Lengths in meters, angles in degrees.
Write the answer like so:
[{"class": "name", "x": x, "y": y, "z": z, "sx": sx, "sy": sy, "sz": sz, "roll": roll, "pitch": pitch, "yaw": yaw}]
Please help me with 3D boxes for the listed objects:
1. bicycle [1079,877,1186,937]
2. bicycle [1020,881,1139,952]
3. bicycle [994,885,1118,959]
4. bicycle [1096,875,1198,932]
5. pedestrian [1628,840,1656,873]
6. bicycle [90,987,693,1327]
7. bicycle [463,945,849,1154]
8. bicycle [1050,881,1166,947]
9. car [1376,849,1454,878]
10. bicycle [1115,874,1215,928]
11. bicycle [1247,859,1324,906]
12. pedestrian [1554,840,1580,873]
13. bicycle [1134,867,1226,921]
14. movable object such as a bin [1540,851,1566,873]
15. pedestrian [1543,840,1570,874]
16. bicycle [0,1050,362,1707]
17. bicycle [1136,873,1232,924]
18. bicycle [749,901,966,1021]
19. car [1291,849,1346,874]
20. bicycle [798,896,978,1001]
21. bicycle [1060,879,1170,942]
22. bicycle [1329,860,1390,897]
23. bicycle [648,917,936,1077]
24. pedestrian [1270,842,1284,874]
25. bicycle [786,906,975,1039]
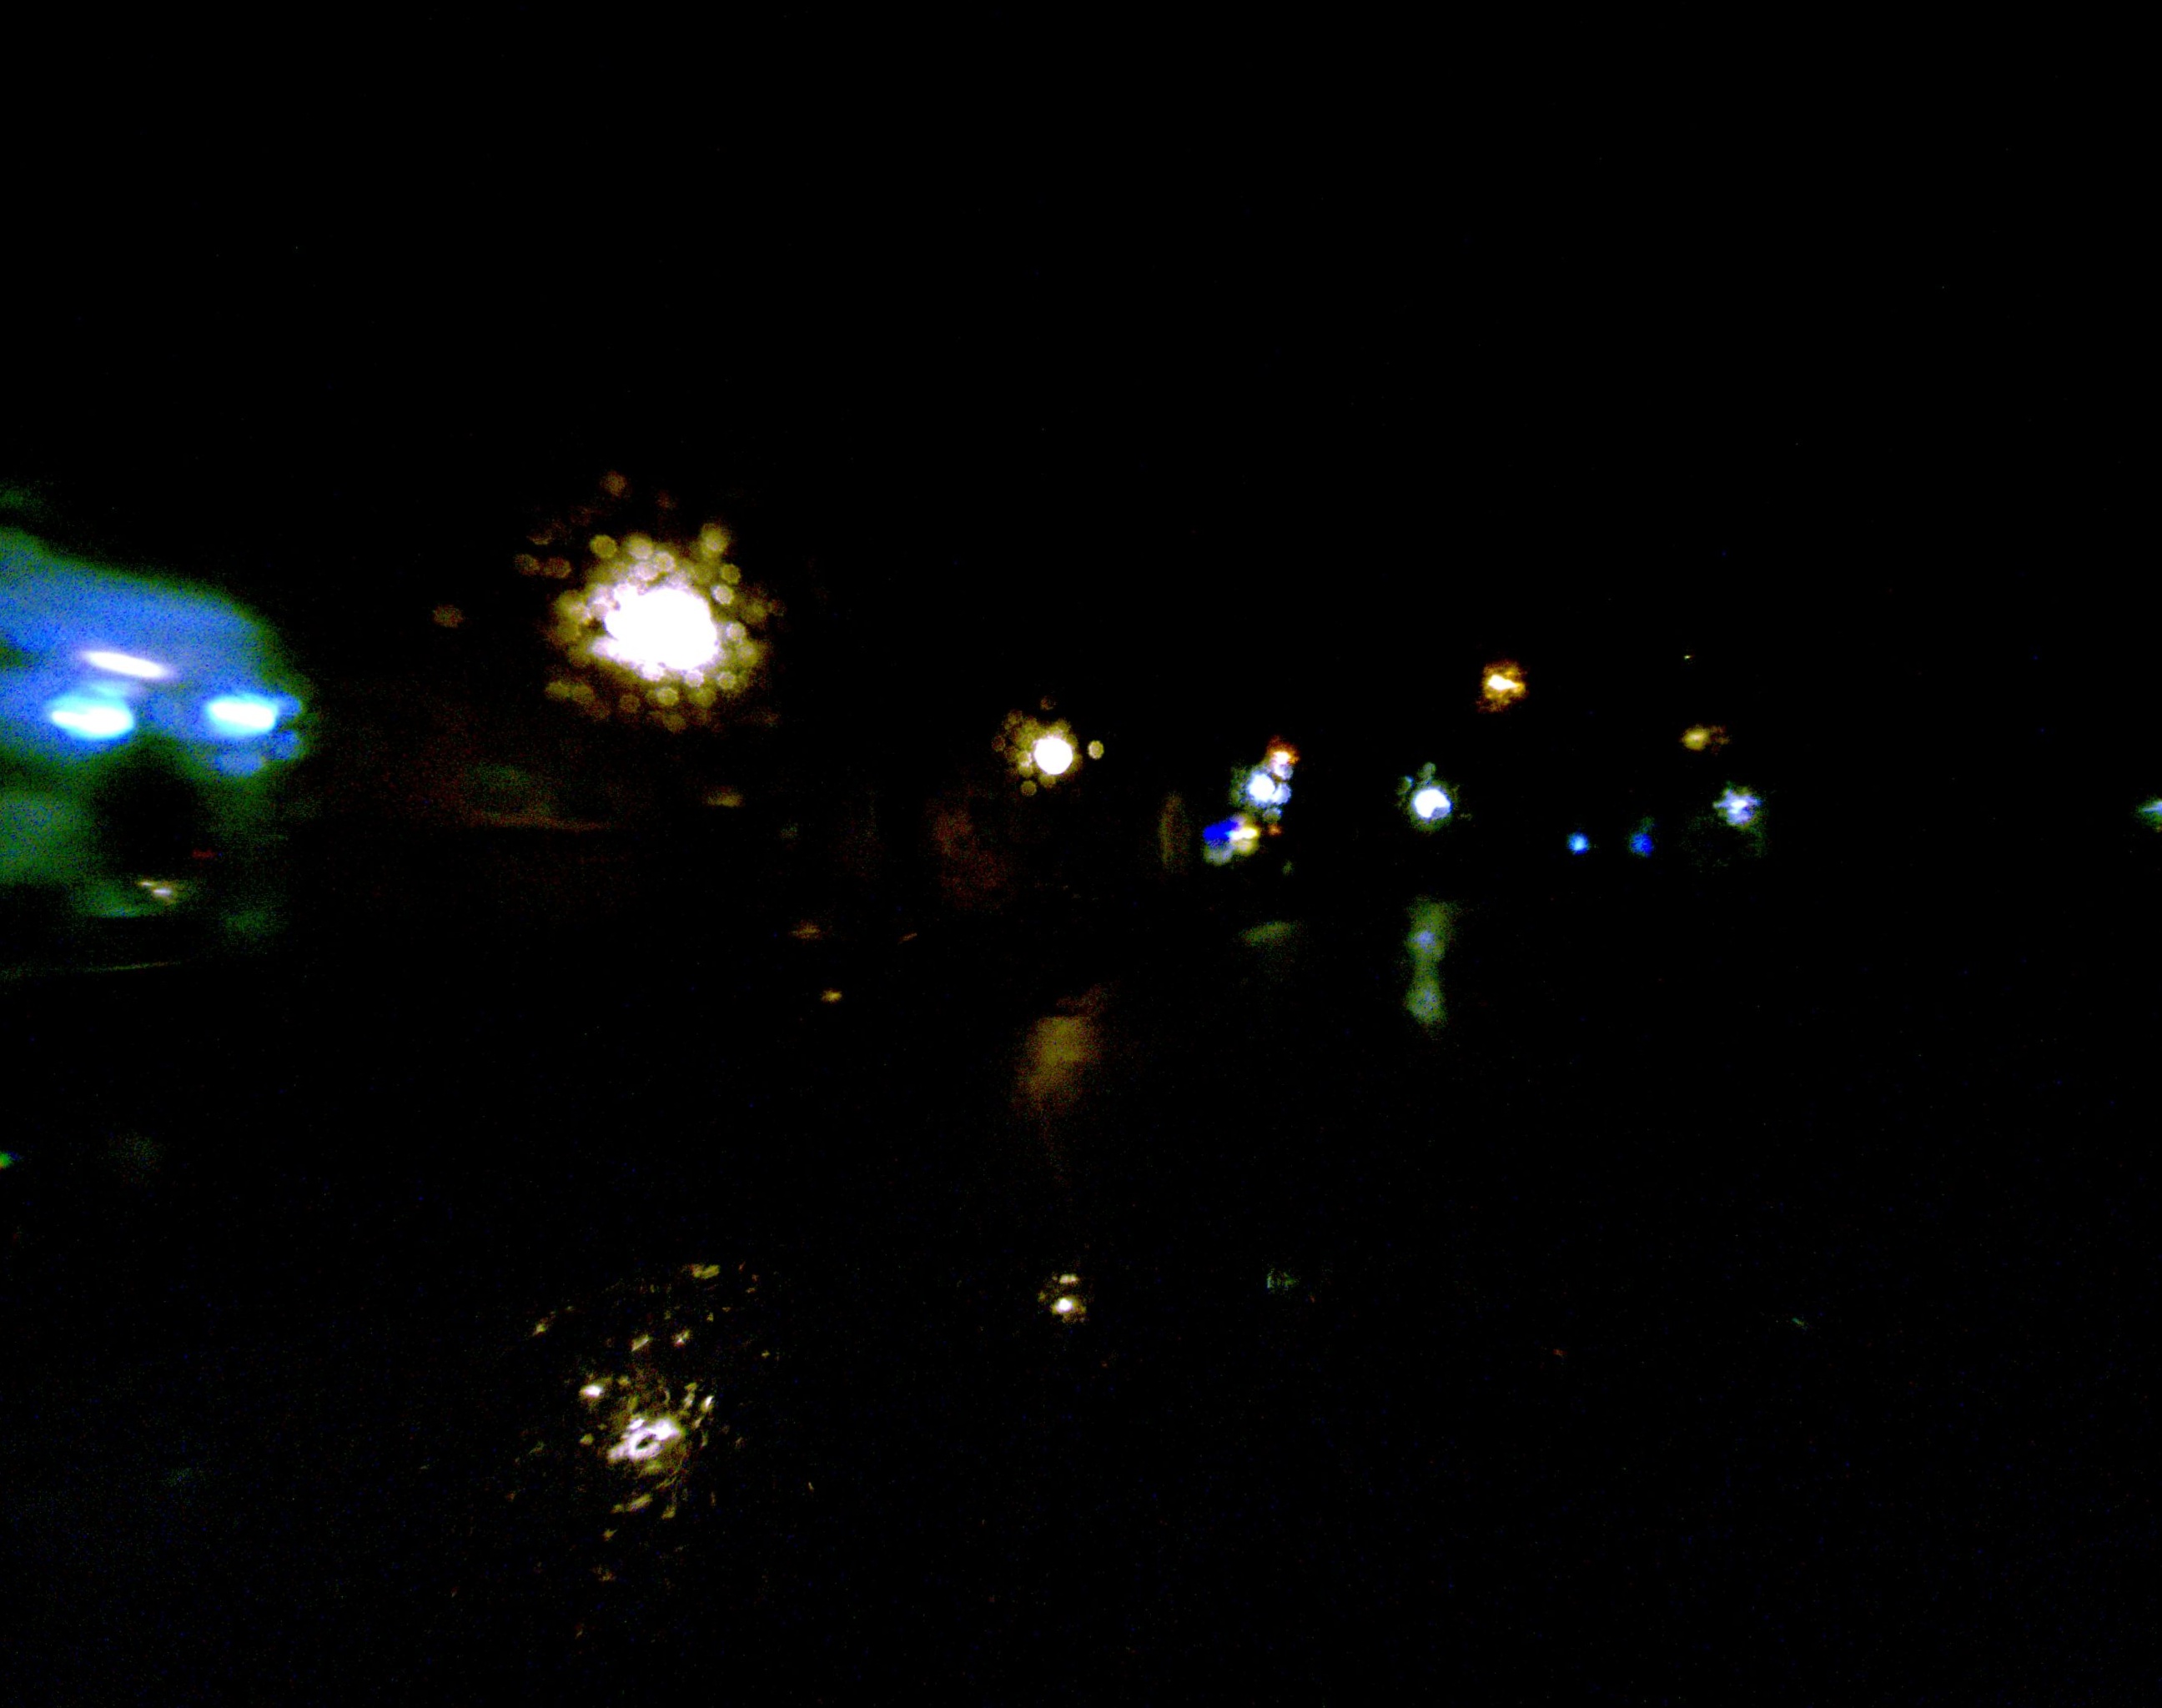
[{"class": "bicycle", "x": 0.942, "y": 0.969, "z": 14.330, "sx": 1.969, "sy": 1.001, "sz": 0.643, "roll": 0, "pitch": 1, "yaw": 37}, {"class": "bicycle", "x": -0.046, "y": 0.995, "z": 12.516, "sx": 1.969, "sy": 1.028, "sz": 0.643, "roll": 0, "pitch": 1, "yaw": 37}, {"class": "bicycle", "x": -0.417, "y": 1.022, "z": 11.914, "sx": 1.969, "sy": 1.001, "sz": 0.643, "roll": 0, "pitch": 1, "yaw": 37}, {"class": "bicycle", "x": 1.281, "y": 0.951, "z": 14.998, "sx": 1.969, "sy": 1.001, "sz": 0.643, "roll": 0, "pitch": 1, "yaw": 37}, {"class": "pedestrian", "x": 26.382, "y": 0.125, "z": 35.724, "sx": 0.635, "sy": 1.484, "sz": 0.767, "roll": -3, "pitch": -1, "yaw": -17}, {"class": "bicycle", "x": -2.668, "y": 1.105, "z": 3.021, "sx": 1.972, "sy": 1.001, "sz": 0.642, "roll": 0, "pitch": 1, "yaw": 8}, {"class": "bicycle", "x": -2.451, "y": 1.087, "z": 4.467, "sx": 1.972, "sy": 1.001, "sz": 0.642, "roll": 0, "pitch": 1, "yaw": 8}, {"class": "bicycle", "x": 0.442, "y": 1.001, "z": 13.085, "sx": 1.969, "sy": 1.001, "sz": 0.643, "roll": 0, "pitch": 1, "yaw": 37}, {"class": "car", "x": 20.160, "y": 0.583, "z": 46.097, "sx": 1.890, "sy": 1.584, "sz": 4.490, "roll": -3, "pitch": 0, "yaw": -16}, {"class": "bicycle", "x": 1.704, "y": 0.936, "z": 15.577, "sx": 1.969, "sy": 1.001, "sz": 0.689, "roll": 0, "pitch": 1, "yaw": 37}, {"class": "bicycle", "x": 5.537, "y": 0.743, "z": 20.630, "sx": 1.869, "sy": 1.210, "sz": 0.732, "roll": 0, "pitch": 1, "yaw": 37}, {"class": "pedestrian", "x": 24.718, "y": 0.126, "z": 38.661, "sx": 0.634, "sy": 1.628, "sz": 0.842, "roll": -3, "pitch": -1, "yaw": -13}, {"class": "bicycle", "x": 2.198, "y": 0.861, "z": 16.953, "sx": 1.927, "sy": 1.108, "sz": 0.732, "roll": 0, "pitch": 1, "yaw": 37}, {"class": "movable object such as a bin", "x": 24.536, "y": 0.414, "z": 39.486, "sx": 0.634, "sy": 1.109, "sz": 0.922, "roll": -3, "pitch": -1, "yaw": -13}, {"class": "pedestrian", "x": 24.097, "y": 0.160, "z": 38.520, "sx": 0.634, "sy": 1.628, "sz": 0.873, "roll": -3, "pitch": -1, "yaw": -15}, {"class": "bicycle", "x": -2.835, "y": 1.046, "z": 1.720, "sx": 1.972, "sy": 1.029, "sz": 0.642, "roll": 0, "pitch": 1, "yaw": 8}, {"class": "bicycle", "x": 2.194, "y": 0.933, "z": 16.287, "sx": 1.927, "sy": 0.982, "sz": 0.732, "roll": 0, "pitch": 1, "yaw": 37}, {"class": "bicycle", "x": -2.161, "y": 1.031, "z": 7.569, "sx": 1.974, "sy": 1.047, "sz": 0.642, "roll": -1, "pitch": 1, "yaw": -7}, {"class": "car", "x": 17.527, "y": 0.562, "z": 56.326, "sx": 1.882, "sy": 1.694, "sz": 4.281, "roll": -3, "pitch": 0, "yaw": -14}, {"class": "bicycle", "x": -2.165, "y": 1.038, "z": 8.617, "sx": 1.822, "sy": 1.080, "sz": 0.721, "roll": 0, "pitch": 1, "yaw": 9}, {"class": "bicycle", "x": 0.592, "y": 0.987, "z": 13.778, "sx": 1.969, "sy": 1.001, "sz": 0.643, "roll": 0, "pitch": 1, "yaw": 37}, {"class": "bicycle", "x": 8.468, "y": 0.743, "z": 23.129, "sx": 1.620, "sy": 1.076, "sz": 0.566, "roll": -1, "pitch": 3, "yaw": 36}, {"class": "bicycle", "x": -2.172, "y": 1.045, "z": 5.808, "sx": 1.972, "sy": 1.059, "sz": 0.642, "roll": 0, "pitch": 1, "yaw": 8}, {"class": "pedestrian", "x": 10.968, "y": 0.231, "z": 42.503, "sx": 0.688, "sy": 1.752, "sz": 1.045, "roll": -2, "pitch": -2, "yaw": 19}, {"class": "bicycle", "x": -1.951, "y": 1.056, "z": 7.249, "sx": 1.969, "sy": 1.001, "sz": 0.643, "roll": 0, "pitch": 1, "yaw": 37}]
